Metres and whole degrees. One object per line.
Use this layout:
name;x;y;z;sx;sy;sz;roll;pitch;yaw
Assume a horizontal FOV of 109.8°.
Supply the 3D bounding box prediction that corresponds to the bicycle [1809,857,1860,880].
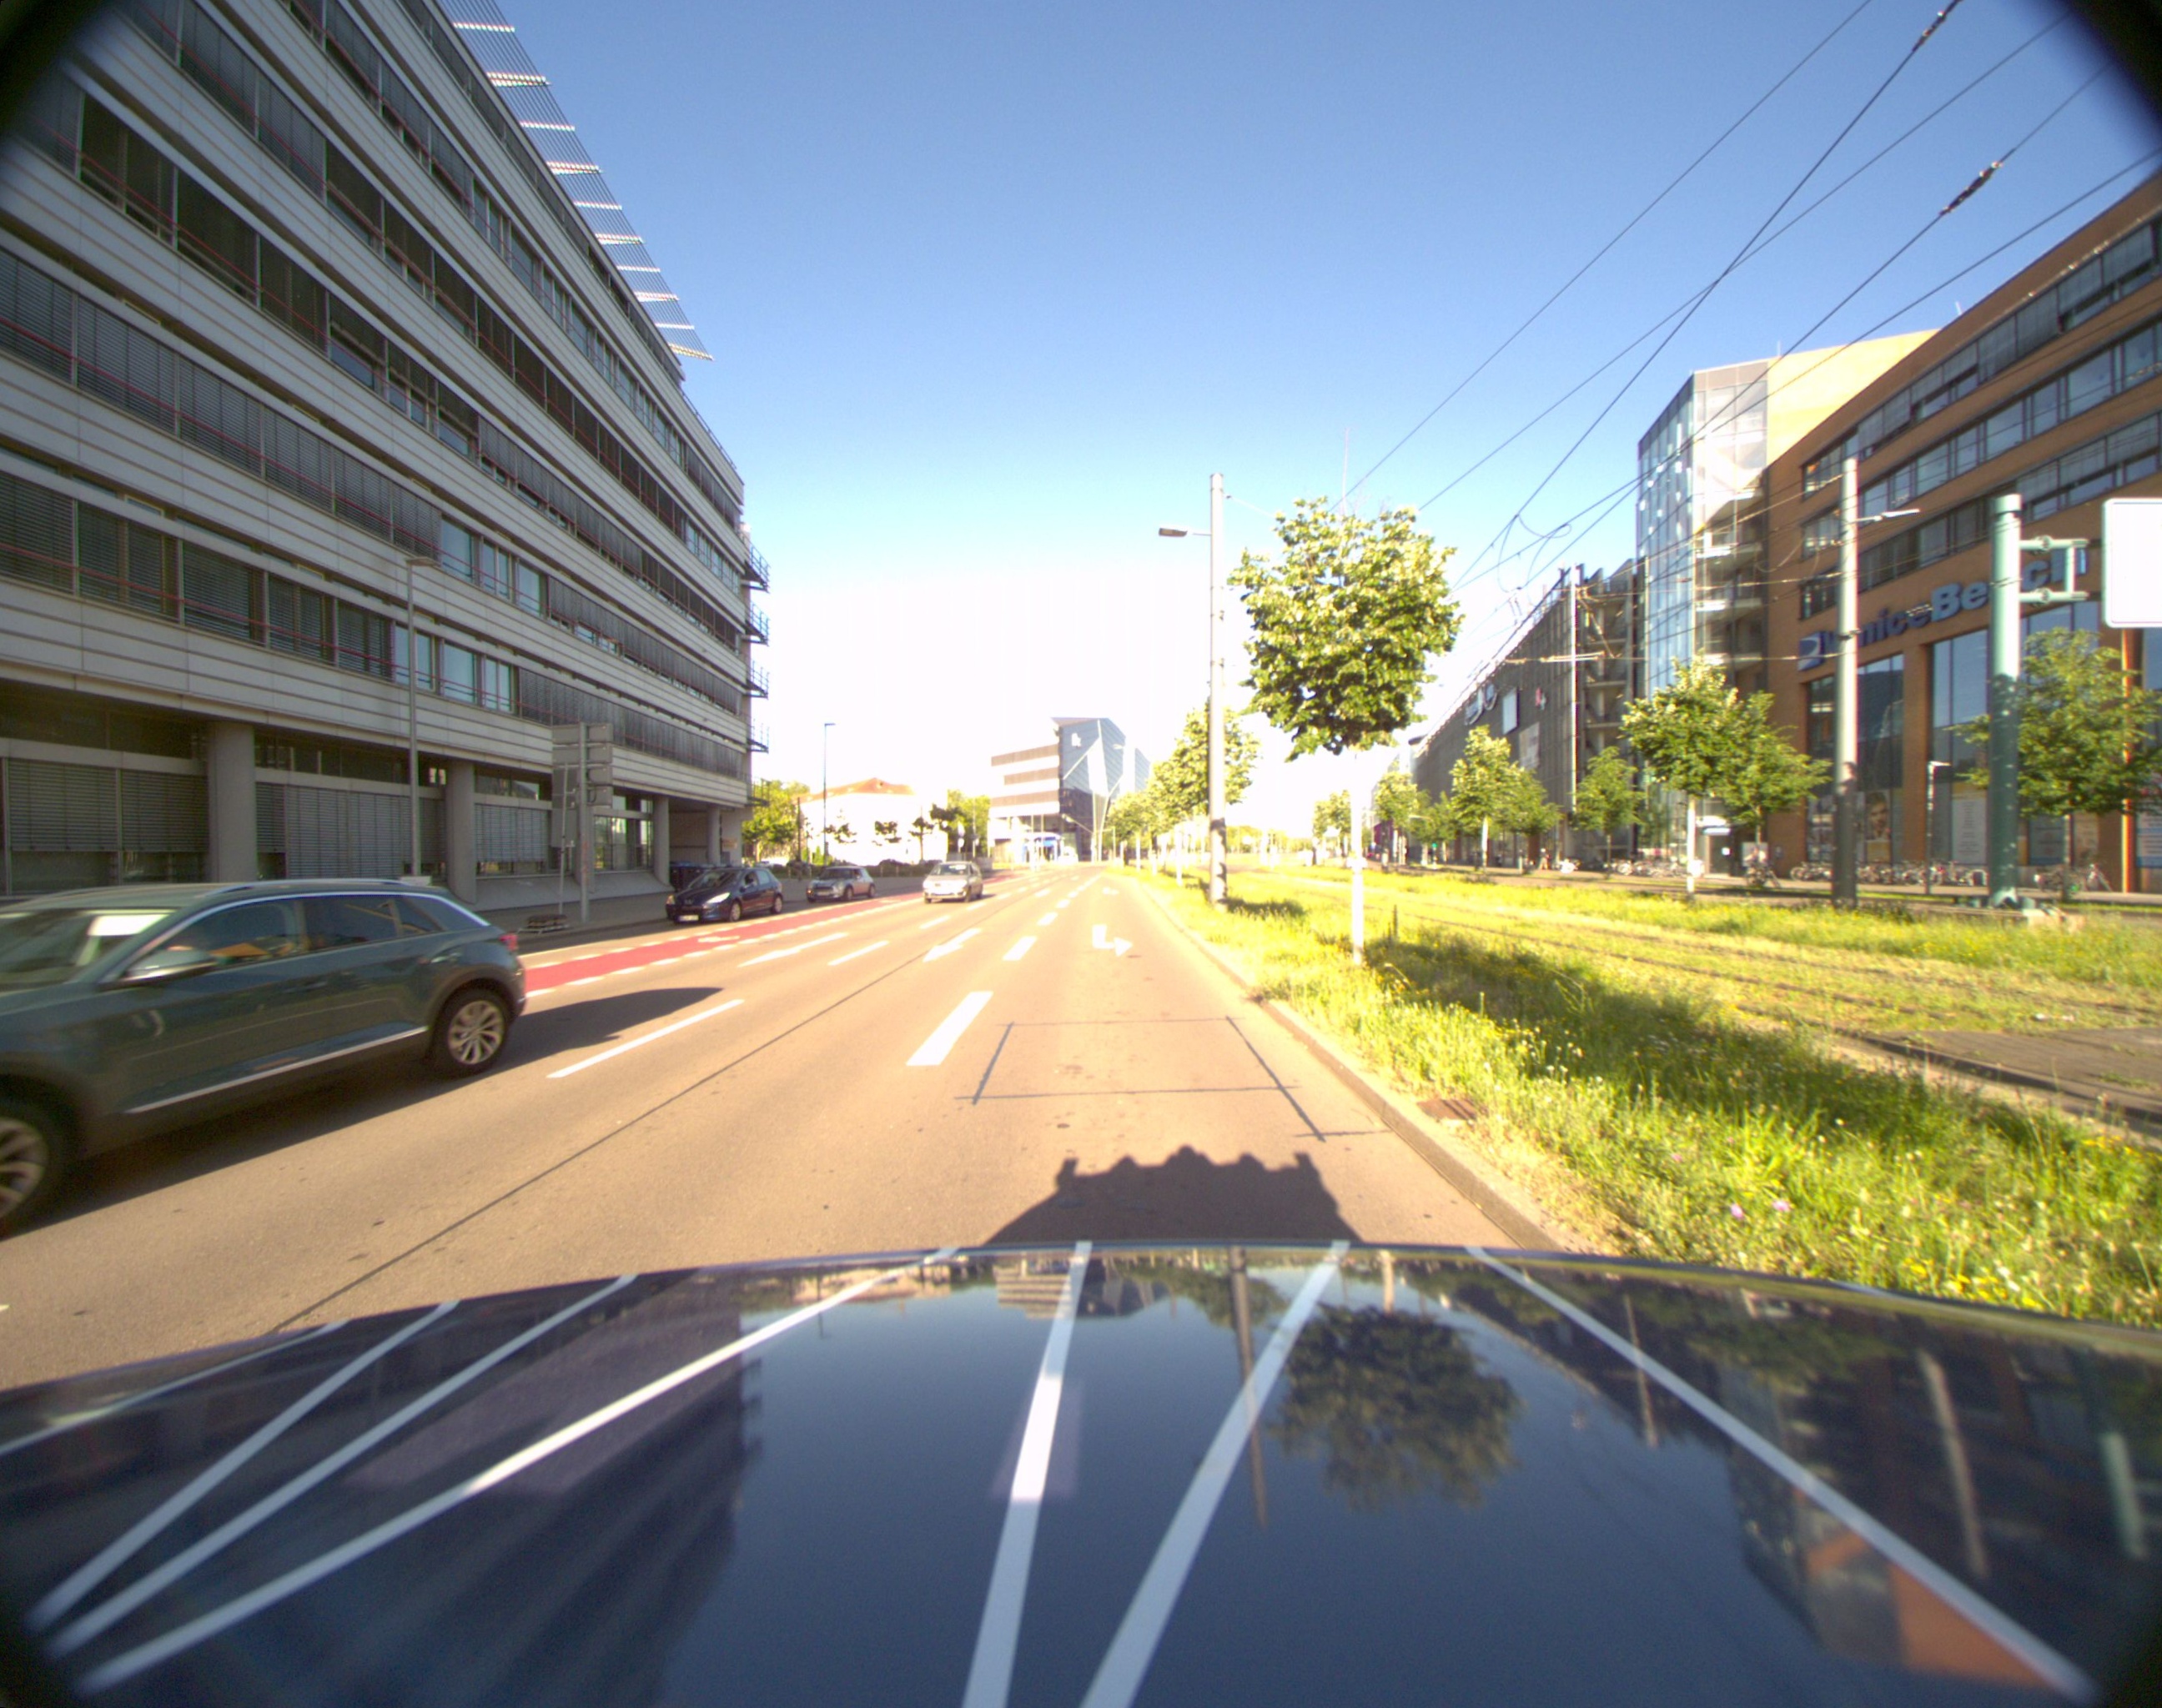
bicycle;35.340;0.697;35.649;1.769;1.043;0.491;-1;1;8

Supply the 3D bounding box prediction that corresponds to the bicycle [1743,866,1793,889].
bicycle;28.011;0.950;31.032;0.464;0.863;1.771;-1;1;1

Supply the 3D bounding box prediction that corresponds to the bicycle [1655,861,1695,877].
bicycle;34.695;0.863;44.389;1.768;0.921;0.565;-1;1;17

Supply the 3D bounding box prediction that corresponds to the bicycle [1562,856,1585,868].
bicycle;38.051;0.649;58.718;1.398;0.921;0.462;-1;1;17

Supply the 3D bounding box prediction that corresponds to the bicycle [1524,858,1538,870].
bicycle;32.673;0.732;55.208;0.386;0.863;1.773;-1;1;13

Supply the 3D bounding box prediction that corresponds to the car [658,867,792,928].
car;-10.087;1.181;21.895;1.735;1.437;4.001;-3;0;3

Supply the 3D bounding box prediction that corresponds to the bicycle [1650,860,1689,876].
bicycle;34.956;0.848;45.138;1.768;0.921;0.565;-1;1;17

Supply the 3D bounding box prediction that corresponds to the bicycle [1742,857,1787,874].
bicycle;37.499;0.623;41.686;1.768;0.921;0.565;-1;1;17

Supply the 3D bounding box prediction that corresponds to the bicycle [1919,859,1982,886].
bicycle;35.240;0.742;30.807;1.769;1.043;0.491;-1;1;8

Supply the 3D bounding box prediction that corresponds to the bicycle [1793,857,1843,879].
bicycle;35.549;0.681;36.646;1.769;1.043;0.491;-1;1;8

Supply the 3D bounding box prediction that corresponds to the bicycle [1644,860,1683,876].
bicycle;35.176;0.834;45.875;1.768;0.921;0.565;-1;1;17

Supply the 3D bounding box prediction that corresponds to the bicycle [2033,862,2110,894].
bicycle;34.024;0.825;26.109;1.769;1.043;0.491;-1;1;8

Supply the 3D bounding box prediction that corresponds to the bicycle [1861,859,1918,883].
bicycle;35.040;0.731;32.928;1.769;1.043;0.491;-1;1;8

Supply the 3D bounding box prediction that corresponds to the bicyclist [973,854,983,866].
bicyclist;-13.291;0.764;98.122;1.006;1.598;0.880;-1;1;14

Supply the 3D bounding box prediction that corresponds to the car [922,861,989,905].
car;-4.552;1.015;28.022;1.620;1.421;3.767;-2;1;3

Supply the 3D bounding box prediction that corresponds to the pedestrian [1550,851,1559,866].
pedestrian;38.406;0.361;61.689;0.448;1.282;0.630;0;1;13

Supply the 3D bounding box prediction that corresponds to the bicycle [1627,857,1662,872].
bicycle;36.018;0.686;48.567;1.768;0.921;0.491;-1;1;17

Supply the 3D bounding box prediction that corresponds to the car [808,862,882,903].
car;-9.569;1.098;31.109;1.438;1.437;4.001;-3;0;5

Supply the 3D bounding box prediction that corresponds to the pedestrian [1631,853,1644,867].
pedestrian;40.750;0.433;55.632;0.629;1.048;0.450;-1;1;13

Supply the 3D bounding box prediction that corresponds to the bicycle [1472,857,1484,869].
bicycle;31.596;0.677;60.488;0.386;0.918;1.773;-1;1;13

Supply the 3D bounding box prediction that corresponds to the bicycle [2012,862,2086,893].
bicycle;34.080;0.818;26.758;1.769;1.043;0.491;-1;1;8

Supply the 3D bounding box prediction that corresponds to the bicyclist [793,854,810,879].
bicyclist;-18.182;0.814;49.413;0.685;1.609;0.991;-1;1;2

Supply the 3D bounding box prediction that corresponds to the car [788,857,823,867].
car;-39.793;1.172;109.802;4.516;1.414;2.002;-1;1;17

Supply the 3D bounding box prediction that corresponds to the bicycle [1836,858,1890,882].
bicycle;35.233;0.713;34.236;1.769;1.043;0.491;-1;1;8

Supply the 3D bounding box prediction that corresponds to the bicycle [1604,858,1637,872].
bicycle;36.784;0.726;51.807;1.768;0.921;0.491;-1;1;17

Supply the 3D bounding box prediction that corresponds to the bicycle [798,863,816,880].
bicycle;-17.818;1.145;49.503;0.505;1.052;1.702;2;1;2

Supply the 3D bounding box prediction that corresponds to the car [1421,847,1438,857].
car;54.130;-0.354;118.155;1.582;1.521;3.754;-2;1;13

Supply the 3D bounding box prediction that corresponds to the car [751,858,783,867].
car;-46.329;1.311;112.160;3.990;1.237;2.003;-1;1;22

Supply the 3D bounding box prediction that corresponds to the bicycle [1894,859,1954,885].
bicycle;34.896;0.749;31.472;1.769;1.043;0.491;-1;1;8

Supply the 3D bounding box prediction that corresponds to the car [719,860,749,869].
car;-52.497;1.610;115.078;3.990;1.368;1.938;-1;1;24

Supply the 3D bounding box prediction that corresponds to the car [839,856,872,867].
car;-31.834;1.035;107.092;3.991;1.414;2.003;-1;1;20

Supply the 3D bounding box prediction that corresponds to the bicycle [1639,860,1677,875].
bicycle;35.322;0.823;46.565;1.768;0.921;0.565;-1;1;17

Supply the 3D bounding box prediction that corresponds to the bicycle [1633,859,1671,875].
bicycle;35.510;0.810;47.265;1.768;0.921;0.565;-1;1;17

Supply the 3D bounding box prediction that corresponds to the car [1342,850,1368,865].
car;25.825;0.321;71.707;1.808;1.320;4.409;0;1;13

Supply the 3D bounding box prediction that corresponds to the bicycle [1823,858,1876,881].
bicycle;35.321;0.704;34.931;1.769;1.043;0.491;-1;1;8

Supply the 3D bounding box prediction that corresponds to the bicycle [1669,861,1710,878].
bicycle;34.670;0.873;43.315;1.768;0.921;0.565;-1;1;17

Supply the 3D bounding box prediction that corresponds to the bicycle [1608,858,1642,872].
bicycle;36.563;0.740;51.114;1.768;0.921;0.565;-1;1;17

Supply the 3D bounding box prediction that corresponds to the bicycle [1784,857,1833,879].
bicycle;35.604;0.675;37.203;1.769;1.043;0.491;-1;1;8

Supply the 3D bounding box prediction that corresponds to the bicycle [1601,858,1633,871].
bicycle;36.938;0.725;52.382;1.768;0.921;0.491;-1;1;17

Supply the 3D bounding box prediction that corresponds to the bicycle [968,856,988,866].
bicycle;-13.276;0.922;98.106;2.368;1.304;0.952;-1;1;13

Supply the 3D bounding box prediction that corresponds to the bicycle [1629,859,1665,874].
bicycle;35.725;0.796;47.992;1.768;0.921;0.565;-1;1;17

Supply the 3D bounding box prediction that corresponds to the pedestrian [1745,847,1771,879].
pedestrian;34.823;0.464;39.098;0.746;1.659;0.676;-1;1;7

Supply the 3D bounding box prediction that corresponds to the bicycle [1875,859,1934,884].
bicycle;34.935;0.741;32.237;1.769;1.043;0.491;-1;1;8

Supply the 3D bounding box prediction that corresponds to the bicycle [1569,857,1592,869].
bicycle;37.680;0.674;57.295;1.398;0.921;0.462;-1;1;17

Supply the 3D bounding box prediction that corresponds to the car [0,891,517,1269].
car;-5.620;1.079;4.396;1.749;1.496;3.880;-1;0;1
